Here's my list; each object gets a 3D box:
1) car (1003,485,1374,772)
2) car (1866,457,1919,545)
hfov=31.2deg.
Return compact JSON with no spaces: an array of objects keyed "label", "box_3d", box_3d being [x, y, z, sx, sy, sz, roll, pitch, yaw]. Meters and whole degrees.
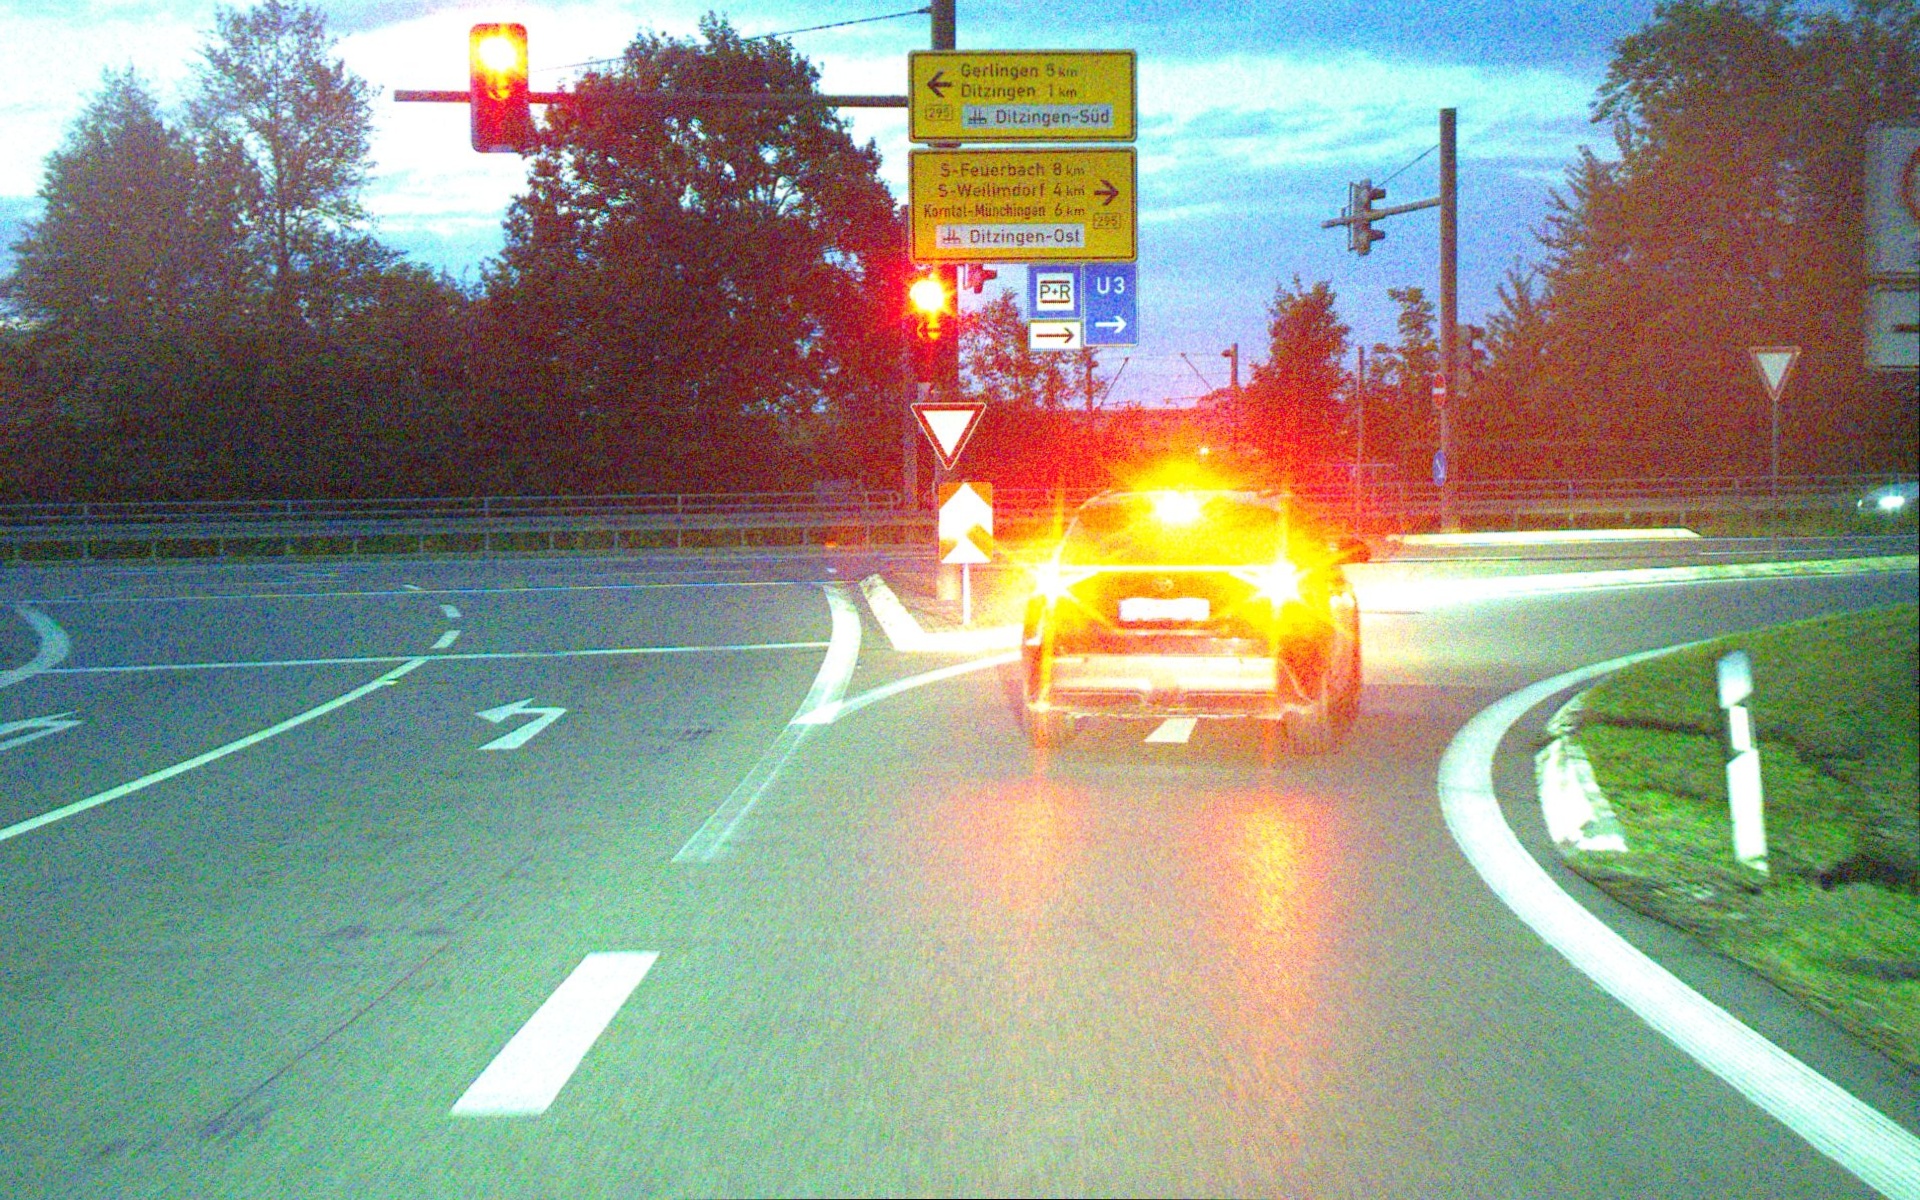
[{"label":"car","box_3d":[1.585,0.084,22.178,1.902,1.614,4.555,1,2,10]},{"label":"car","box_3d":[20.324,-1.928,66.891,4.856,1.676,2.001,-1,2,-15]}]
